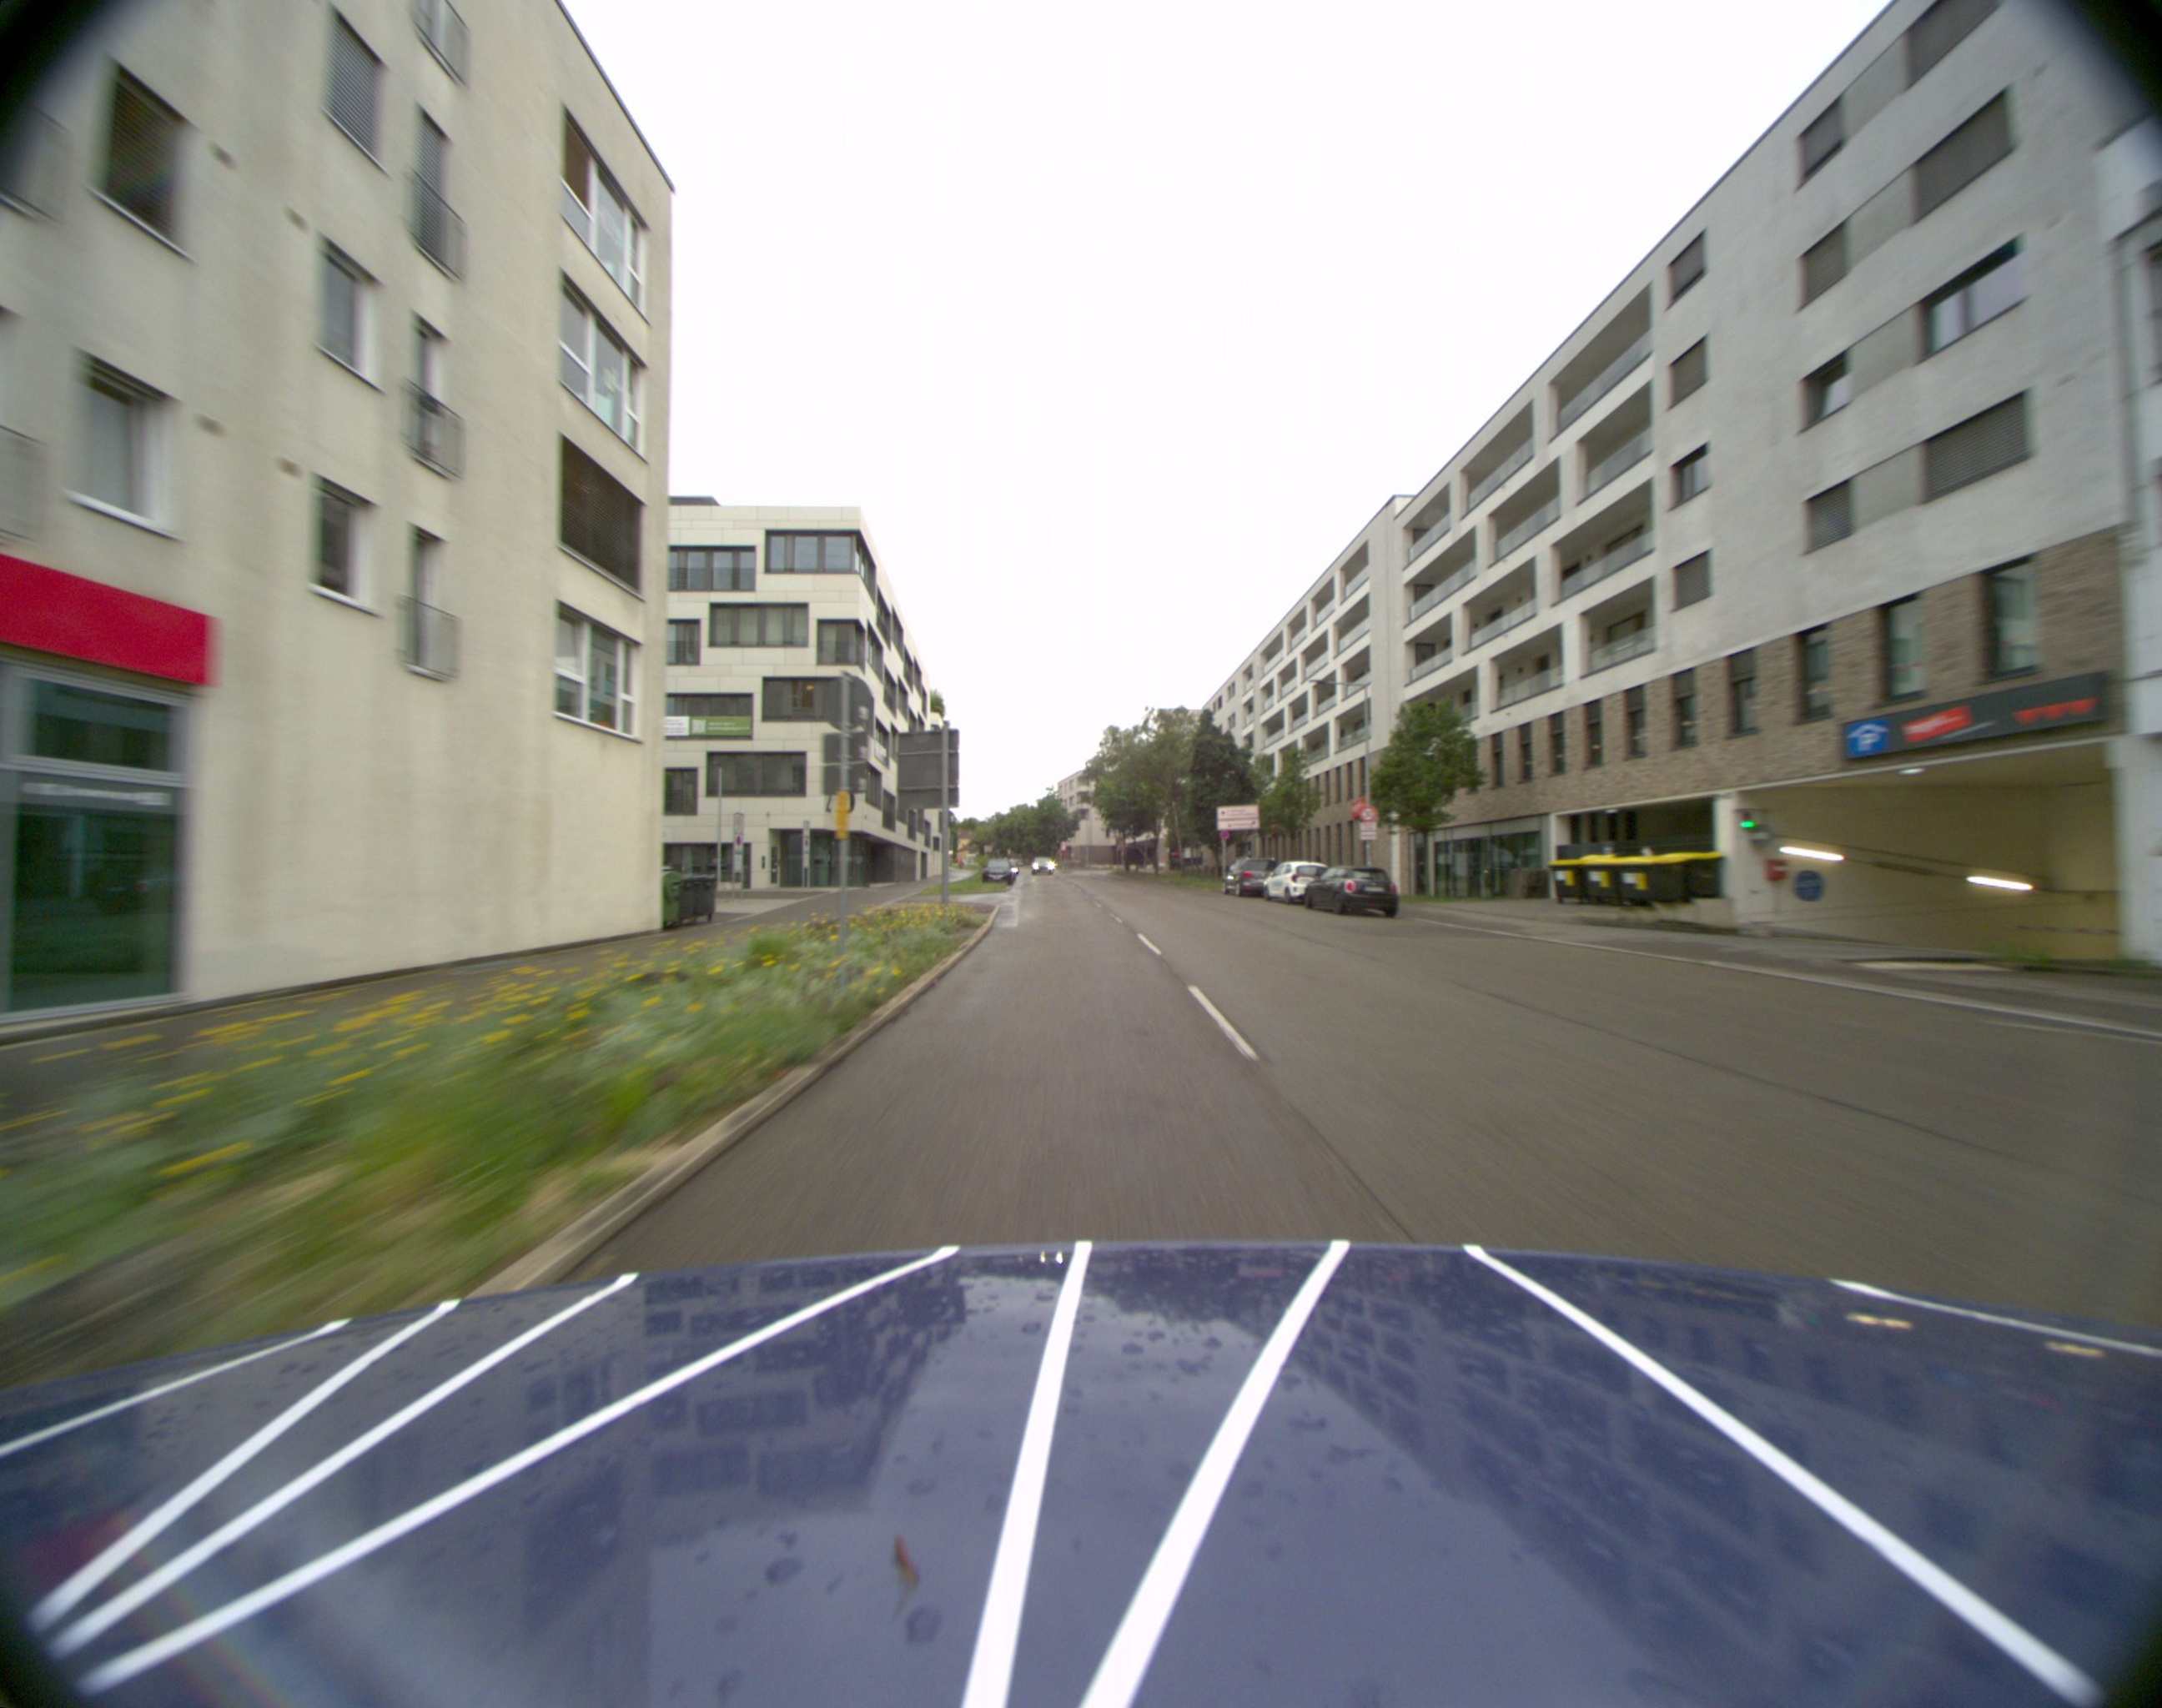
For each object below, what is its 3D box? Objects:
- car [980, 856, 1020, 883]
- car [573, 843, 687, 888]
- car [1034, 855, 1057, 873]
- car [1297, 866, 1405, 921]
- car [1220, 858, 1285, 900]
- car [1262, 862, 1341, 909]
[{"bbox_3d":[-5.040,0.941,47.800,1.998,1.477,3.999,-2,0,0],"label":"car"},{"bbox_3d":[-20.433,0.518,34.538,3.996,2.002,2.000,0,0,1],"label":"car"},{"bbox_3d":[-3.345,0.940,72.204,1.998,1.565,3.999,-2,0,0],"label":"car"},{"bbox_3d":[7.976,1.116,22.828,1.662,1.383,3.738,2,0,-4],"label":"car"},{"bbox_3d":[7.257,1.030,32.525,1.630,1.608,3.971,3,0,-2],"label":"car"},{"bbox_3d":[7.875,1.097,27.404,1.597,1.459,3.421,3,0,-3],"label":"car"}]
